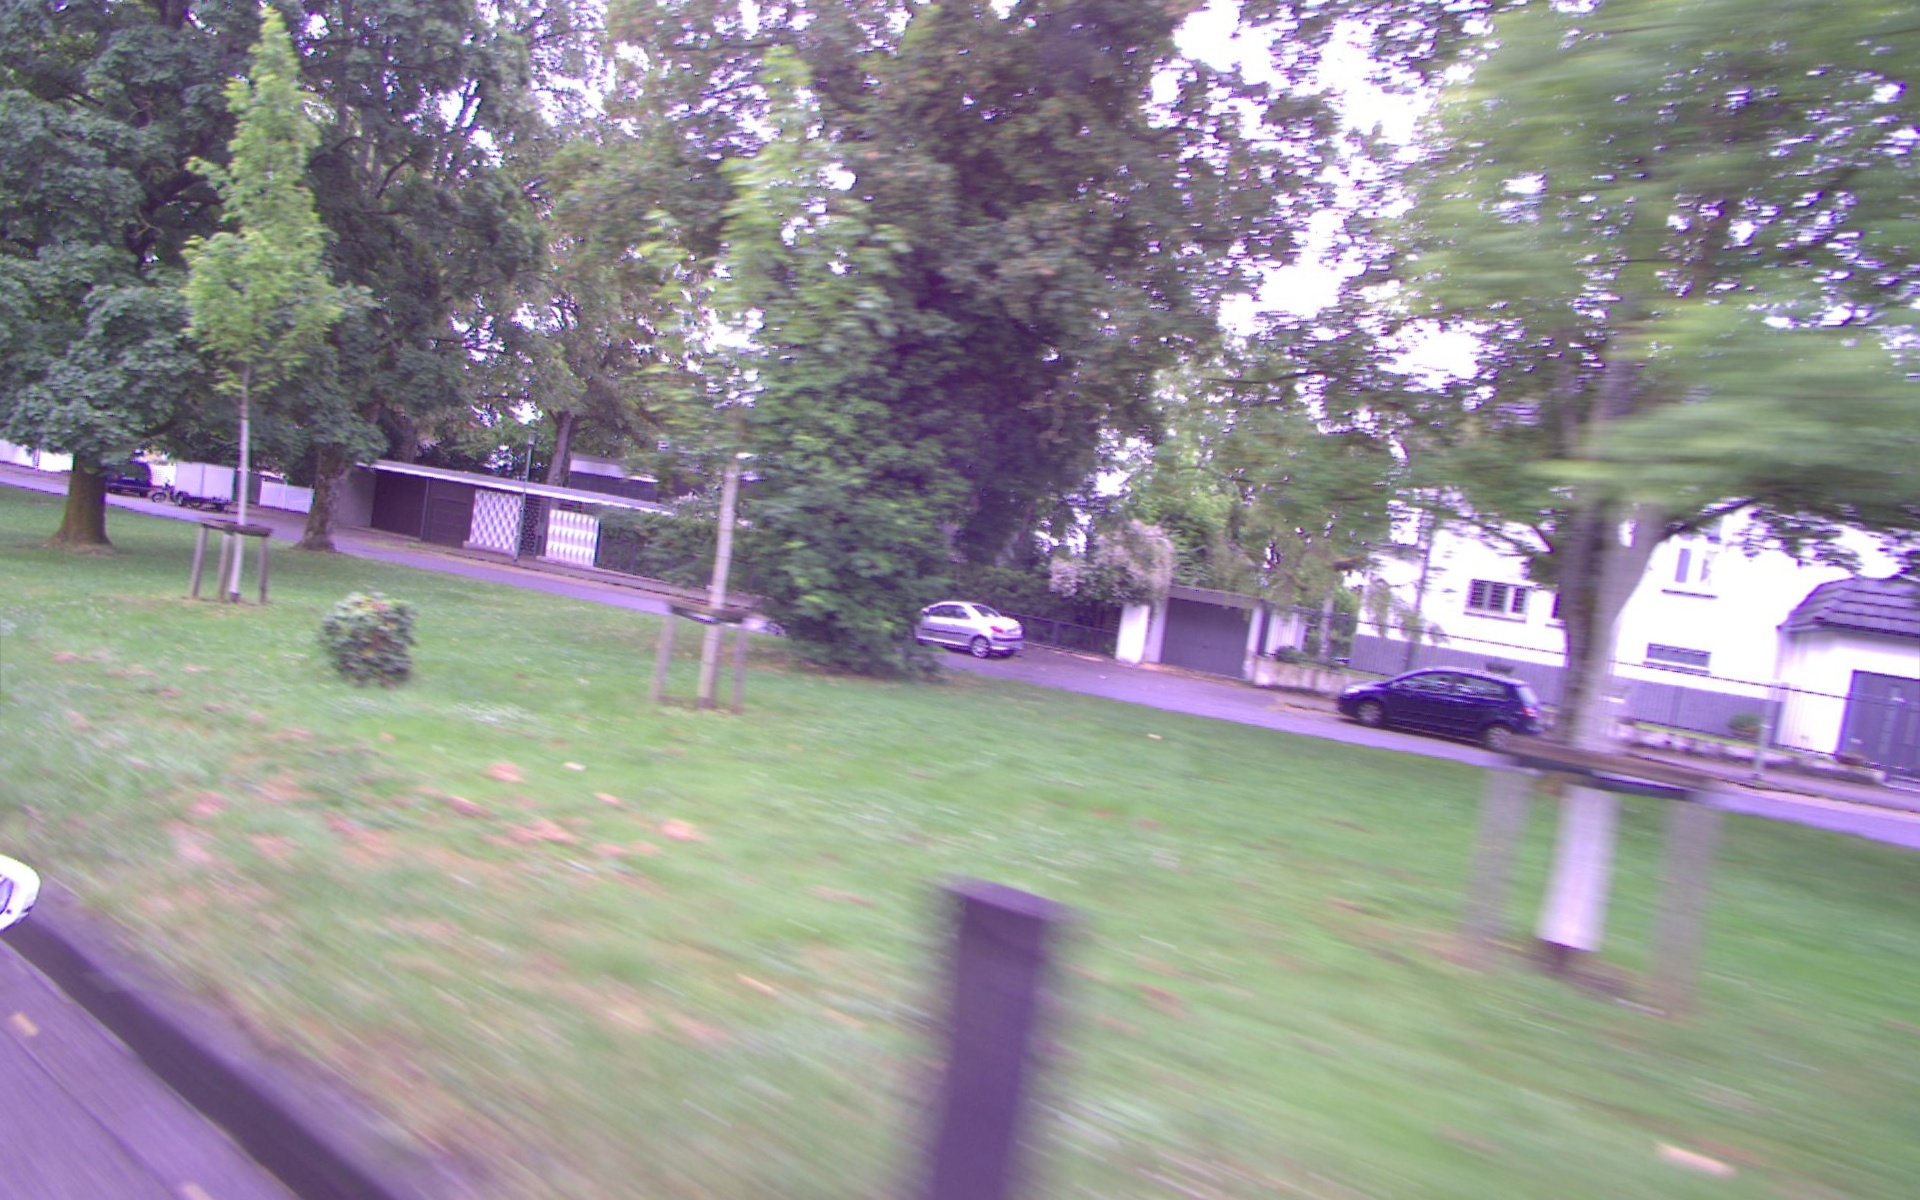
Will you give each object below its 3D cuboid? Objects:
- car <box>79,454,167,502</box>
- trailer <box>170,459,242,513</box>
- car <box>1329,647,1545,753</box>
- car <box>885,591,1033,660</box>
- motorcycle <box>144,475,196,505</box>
[{"bbox_3d":[-43.231,-6.324,51.947,4.569,1.834,1.942,10,4,29],"label":"car"},{"bbox_3d":[-35.509,-5.371,47.361,2.899,2.182,1.438,7,1,27],"label":"trailer"},{"bbox_3d":[10.441,2.106,22.113,3.966,1.645,1.904,7,1,29],"label":"car"},{"bbox_3d":[-0.040,0.667,27.827,3.646,1.394,1.682,8,3,30],"label":"car"},{"bbox_3d":[-37.798,-5.245,48.162,1.876,1.107,0.651,7,3,-39],"label":"motorcycle"}]
